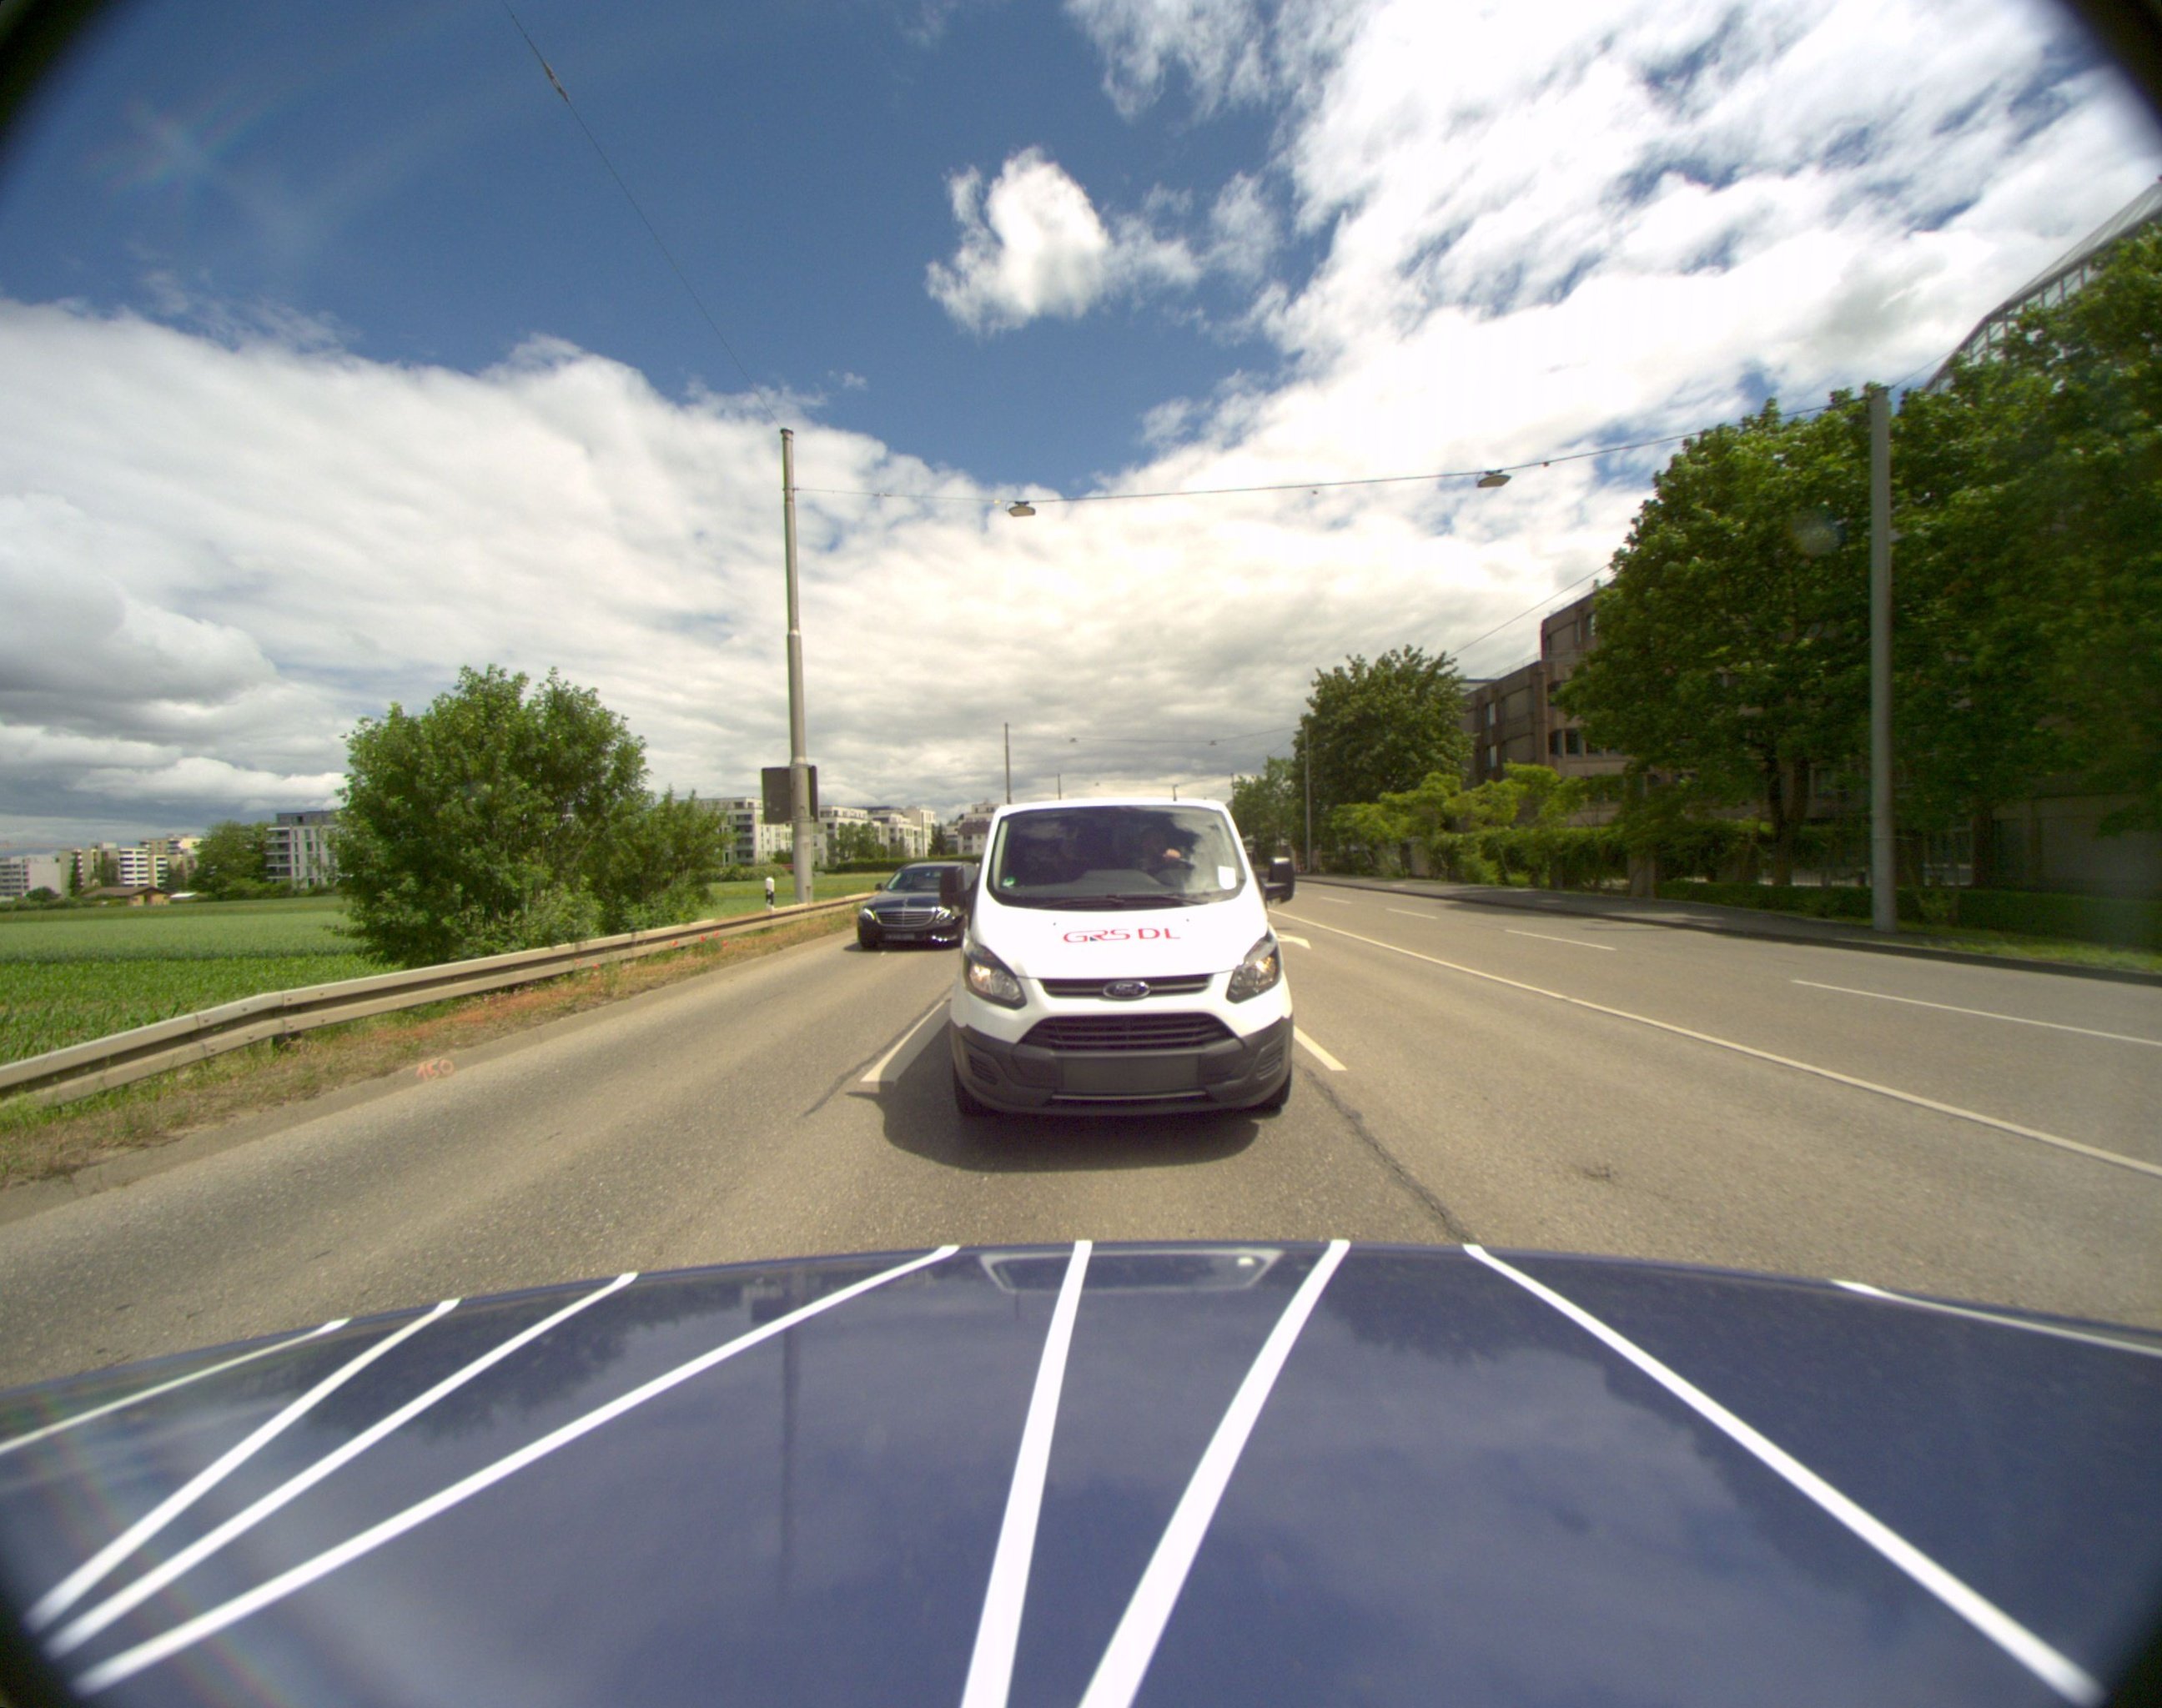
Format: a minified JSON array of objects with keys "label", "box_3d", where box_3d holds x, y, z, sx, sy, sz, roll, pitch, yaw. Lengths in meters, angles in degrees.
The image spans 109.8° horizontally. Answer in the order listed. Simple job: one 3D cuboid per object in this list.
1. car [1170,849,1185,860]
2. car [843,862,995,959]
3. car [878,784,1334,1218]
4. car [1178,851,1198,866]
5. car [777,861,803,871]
[{"label":"car","box_3d":[14.735,0.034,116.348,1.801,1.576,4.313,-2,1,1]},{"label":"car","box_3d":[-2.902,0.986,14.751,1.842,1.528,4.807,-1,-2,1]},{"label":"car","box_3d":[0.310,0.681,6.339,1.998,1.906,5.884,-1,0,4]},{"label":"car","box_3d":[12.730,0.493,90.818,1.872,1.605,4.572,-1,1,3]},{"label":"car","box_3d":[-59.514,2.436,155.424,4.436,2.002,2.000,-1,1,2]}]
